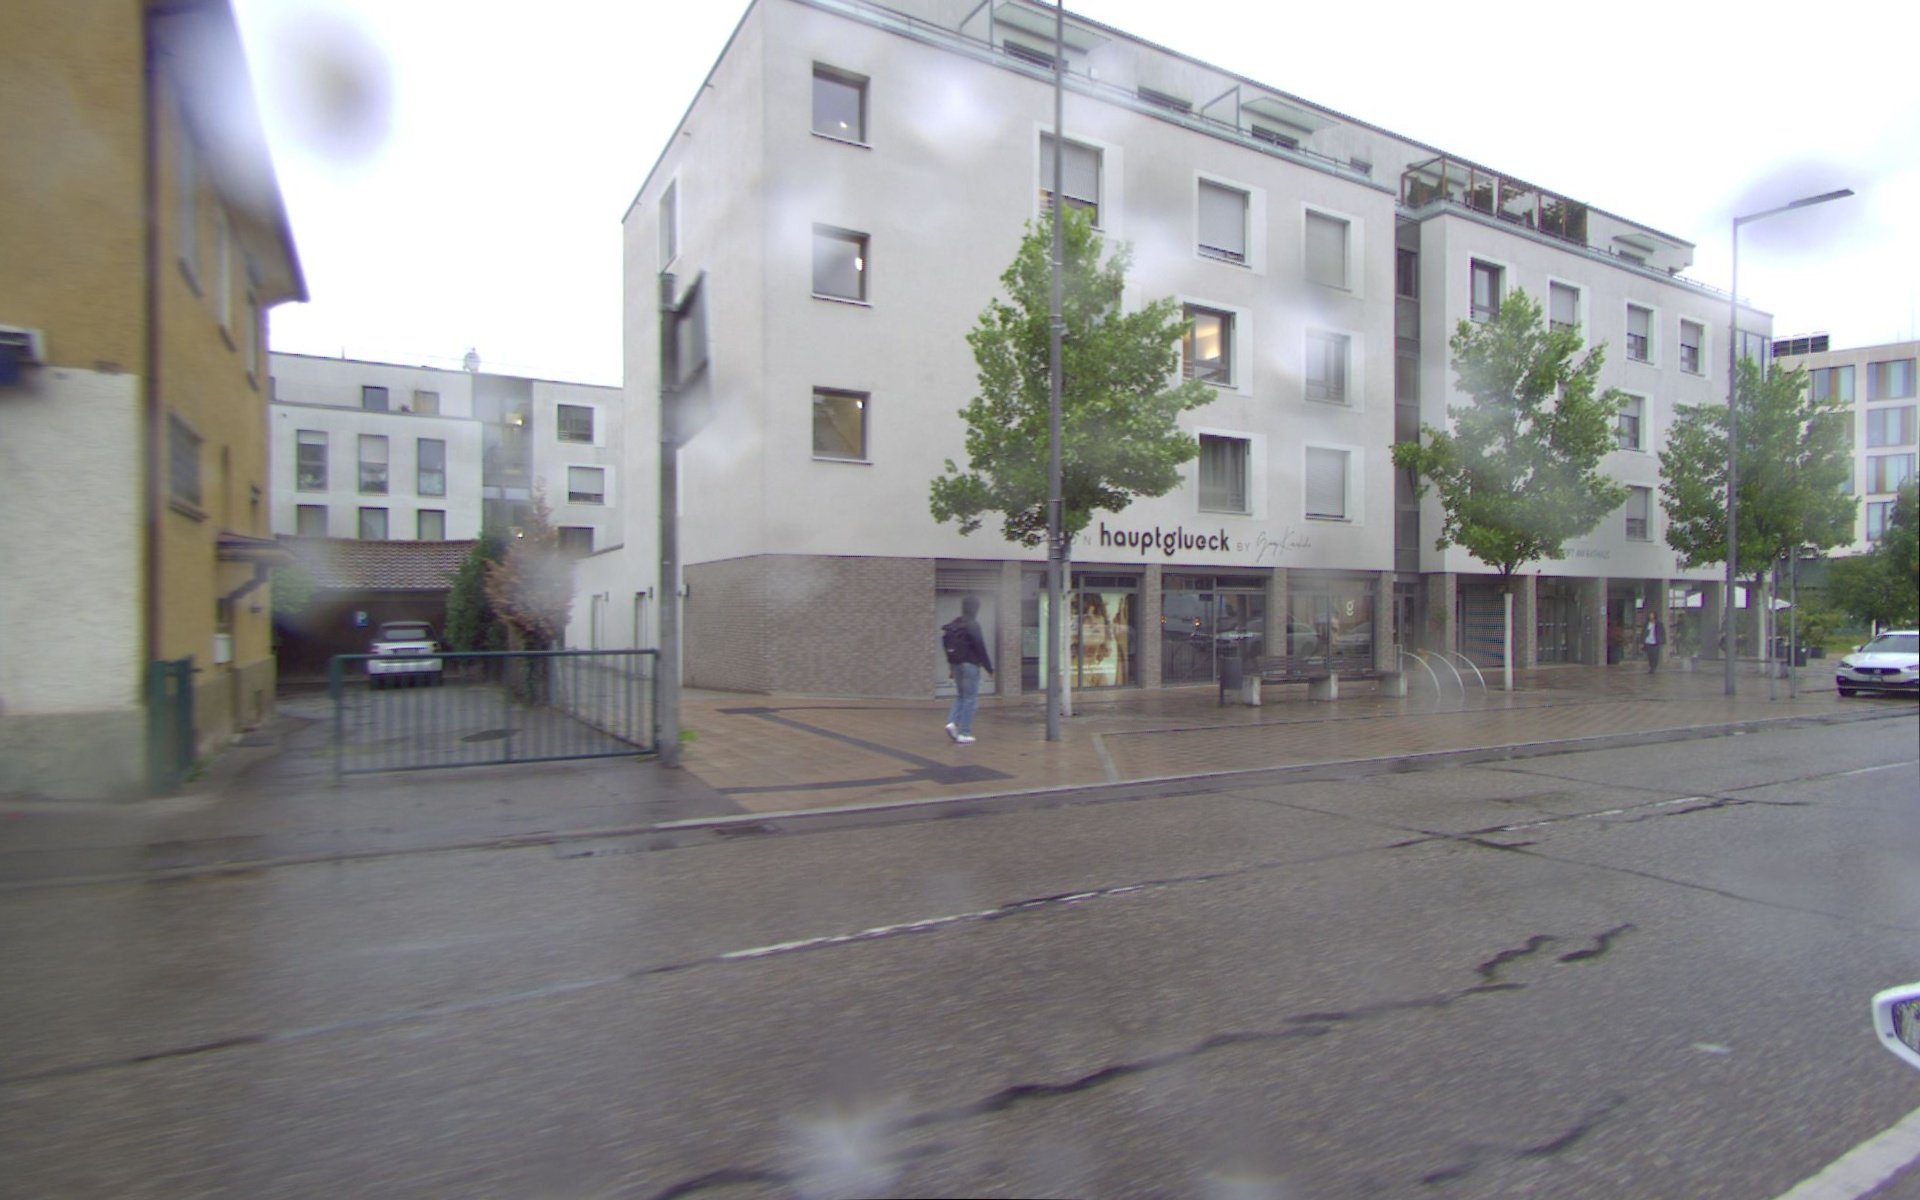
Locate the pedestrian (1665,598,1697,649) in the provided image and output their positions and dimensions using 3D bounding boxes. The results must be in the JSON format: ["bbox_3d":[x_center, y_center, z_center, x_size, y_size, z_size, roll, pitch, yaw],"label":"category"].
[{"bbox_3d":[29.633,0.973,41.291,0.928,2.040,0.843,2,-2,-36],"label":"pedestrian"}]

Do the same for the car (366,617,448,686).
[{"bbox_3d":[-13.789,1.270,25.053,1.667,1.594,2.945,2,-2,-30],"label":"car"}]

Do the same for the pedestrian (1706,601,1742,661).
[{"bbox_3d":[27.872,1.133,36.637,0.759,2.173,0.746,2,-1,-21],"label":"pedestrian"}]

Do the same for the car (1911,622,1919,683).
[{"bbox_3d":[26.547,1.381,25.823,4.519,1.529,1.685,2,-2,-28],"label":"car"}]

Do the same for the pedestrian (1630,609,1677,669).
[{"bbox_3d":[20.598,1.162,29.850,0.991,1.761,0.805,2,-2,-31],"label":"pedestrian"}]

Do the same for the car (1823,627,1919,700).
[{"bbox_3d":[21.122,1.388,22.266,4.429,1.482,1.786,2,-2,-32],"label":"car"}]

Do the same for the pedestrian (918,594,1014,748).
[{"bbox_3d":[0.081,0.863,12.502,0.792,1.811,0.877,-1,-3,42],"label":"pedestrian"}]
